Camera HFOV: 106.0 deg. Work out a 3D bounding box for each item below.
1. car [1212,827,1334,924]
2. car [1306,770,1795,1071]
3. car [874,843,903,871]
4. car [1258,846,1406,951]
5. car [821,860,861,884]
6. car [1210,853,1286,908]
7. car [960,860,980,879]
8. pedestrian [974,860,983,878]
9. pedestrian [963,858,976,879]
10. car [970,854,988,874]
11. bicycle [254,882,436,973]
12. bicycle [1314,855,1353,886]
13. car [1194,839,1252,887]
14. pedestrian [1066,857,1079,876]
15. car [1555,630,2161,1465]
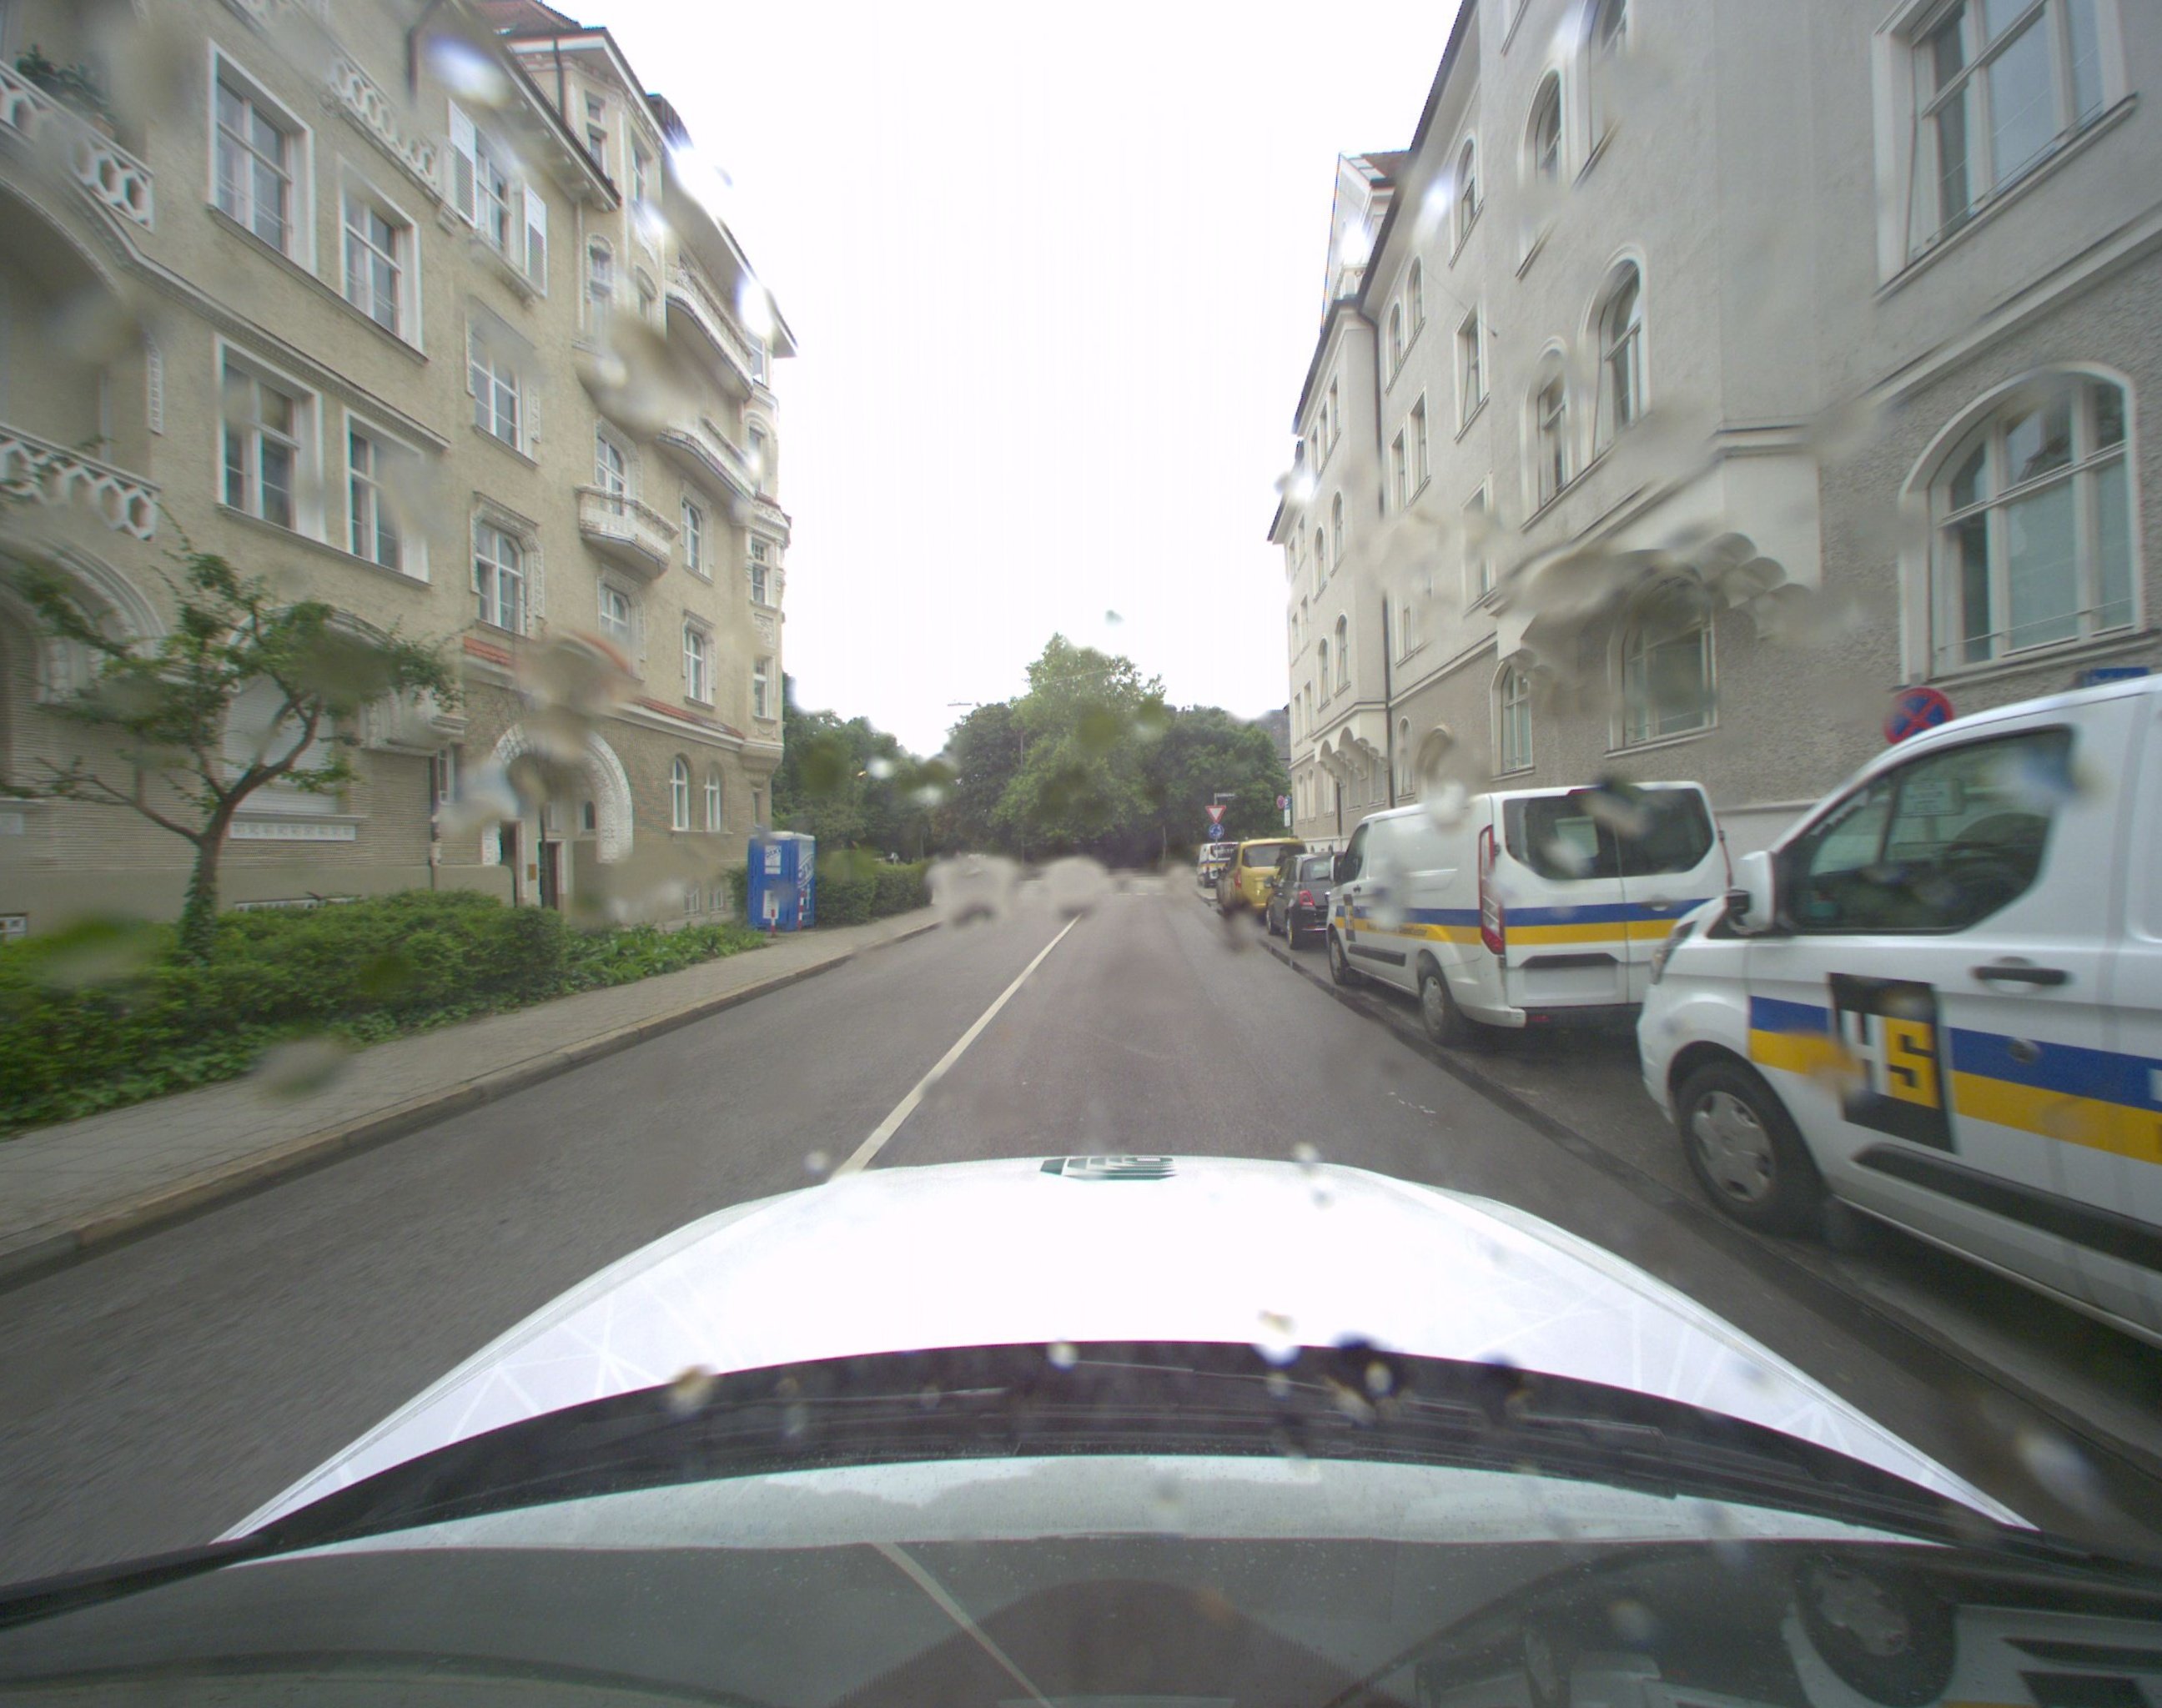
[{"bbox_3d":[4.294,0.454,18.966,1.985,1.918,4.575,-2,0,4],"label":"car"},{"bbox_3d":[3.766,0.448,7.819,1.985,1.918,4.889,-2,0,2],"label":"car"},{"bbox_3d":[-21.927,0.318,92.866,2.169,3.002,6.223,-2,0,-4],"label":"car"},{"bbox_3d":[4.140,0.666,14.030,1.626,1.514,3.890,-2,0,5],"label":"car"},{"bbox_3d":[-20.386,1.513,69.353,2.079,1.903,4.853,-2,0,-3],"label":"car"},{"bbox_3d":[4.885,0.725,24.272,1.704,1.445,3.832,-2,0,4],"label":"car"},{"bbox_3d":[-12.392,1.723,90.968,1.909,1.937,4.959,-2,0,-6],"label":"car"},{"bbox_3d":[-9.401,1.386,74.798,0.636,1.667,0.691,-2,-1,-26],"label":"pedestrian"},{"bbox_3d":[-10.290,1.349,75.065,0.825,1.836,0.943,-2,-1,-31],"label":"pedestrian"},{"bbox_3d":[-13.330,1.278,106.673,1.989,2.558,5.423,-2,0,-3],"label":"car"},{"bbox_3d":[-11.168,1.067,12.477,0.817,1.206,2.079,-1,0,3],"label":"bicycle"},{"bbox_3d":[10.162,0.649,32.891,0.835,1.112,2.761,-5,0,5],"label":"bicycle"},{"bbox_3d":[6.388,0.382,37.097,1.930,1.922,5.379,-3,0,3],"label":"car"},{"bbox_3d":[-0.619,0.895,60.515,0.765,1.356,1.133,-2,0,5],"label":"pedestrian"},{"bbox_3d":[3.456,0.418,1.818,1.986,1.918,4.879,-2,0,1],"label":"car"}]
